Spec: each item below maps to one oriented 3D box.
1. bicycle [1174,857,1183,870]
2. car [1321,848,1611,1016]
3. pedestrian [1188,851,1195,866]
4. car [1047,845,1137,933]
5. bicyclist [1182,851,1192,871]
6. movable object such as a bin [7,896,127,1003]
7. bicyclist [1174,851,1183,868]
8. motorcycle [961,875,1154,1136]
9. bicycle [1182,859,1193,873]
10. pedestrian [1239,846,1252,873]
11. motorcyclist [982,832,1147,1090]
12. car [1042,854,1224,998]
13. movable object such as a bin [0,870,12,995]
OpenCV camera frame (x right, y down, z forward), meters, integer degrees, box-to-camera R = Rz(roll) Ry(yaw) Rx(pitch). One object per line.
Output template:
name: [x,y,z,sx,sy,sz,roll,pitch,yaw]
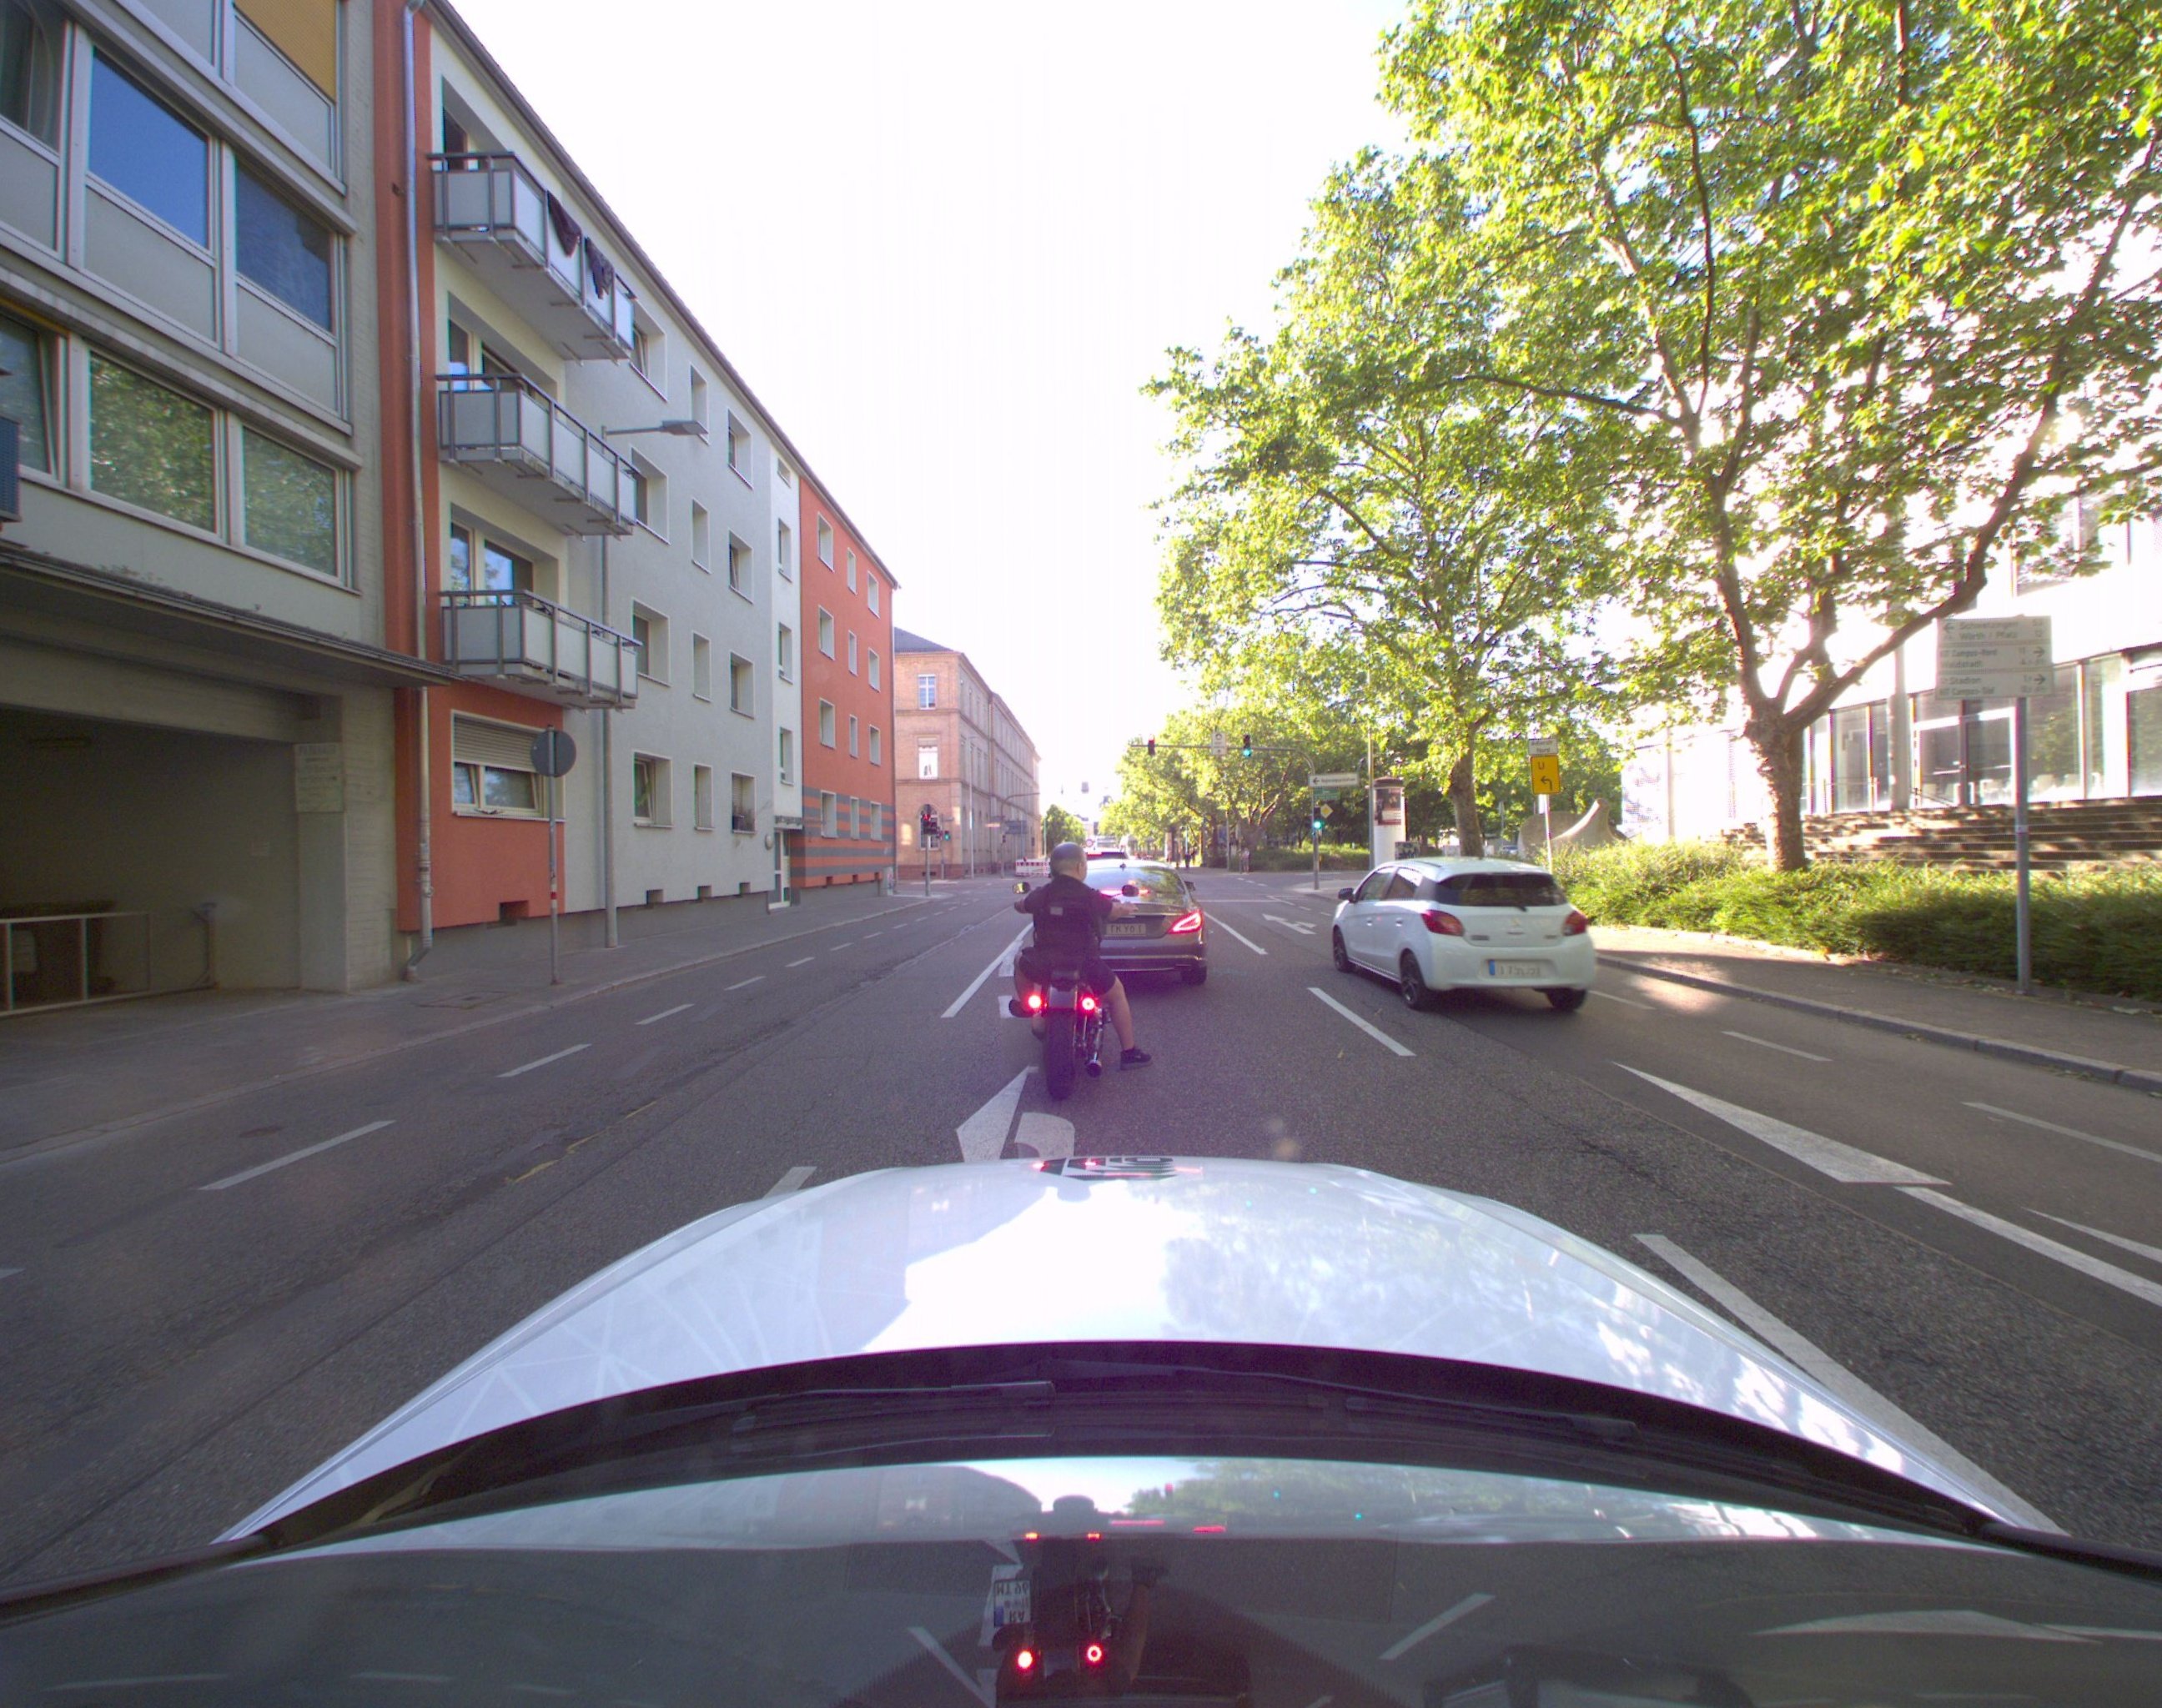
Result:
bicycle: [8.557,0.856,71.617,0.653,1.111,2.186,0,0,2]
car: [3.999,0.706,9.160,1.672,1.498,3.687,0,0,2]
pedestrian: [11.492,0.470,84.621,0.590,1.578,0.527,0,-1,2]
car: [0.133,0.667,17.300,1.626,1.650,3.845,0,0,-4]
bicyclist: [8.106,0.506,62.180,0.653,1.530,0.852,0,-1,1]
movable object such as a bin: [-11.207,1.037,9.017,0.487,1.088,0.654,-1,0,2]
bicyclist: [8.556,0.495,71.588,0.653,1.530,0.906,0,-1,1]
motorcycle: [-0.088,0.848,5.709,1.008,1.306,2.673,-1,0,2]
bicycle: [8.130,0.925,62.128,0.653,1.070,1.927,0,0,2]
pedestrian: [10.780,0.381,53.464,0.574,1.774,0.619,1,-1,-33]
motorcyclist: [-0.083,0.673,5.823,1.008,1.602,1.406,-1,0,1]
car: [0.581,0.730,10.132,1.821,1.420,3.816,-1,0,2]
movable object such as a bin: [-12.927,0.902,8.794,1.313,1.414,1.080,-1,0,1]
